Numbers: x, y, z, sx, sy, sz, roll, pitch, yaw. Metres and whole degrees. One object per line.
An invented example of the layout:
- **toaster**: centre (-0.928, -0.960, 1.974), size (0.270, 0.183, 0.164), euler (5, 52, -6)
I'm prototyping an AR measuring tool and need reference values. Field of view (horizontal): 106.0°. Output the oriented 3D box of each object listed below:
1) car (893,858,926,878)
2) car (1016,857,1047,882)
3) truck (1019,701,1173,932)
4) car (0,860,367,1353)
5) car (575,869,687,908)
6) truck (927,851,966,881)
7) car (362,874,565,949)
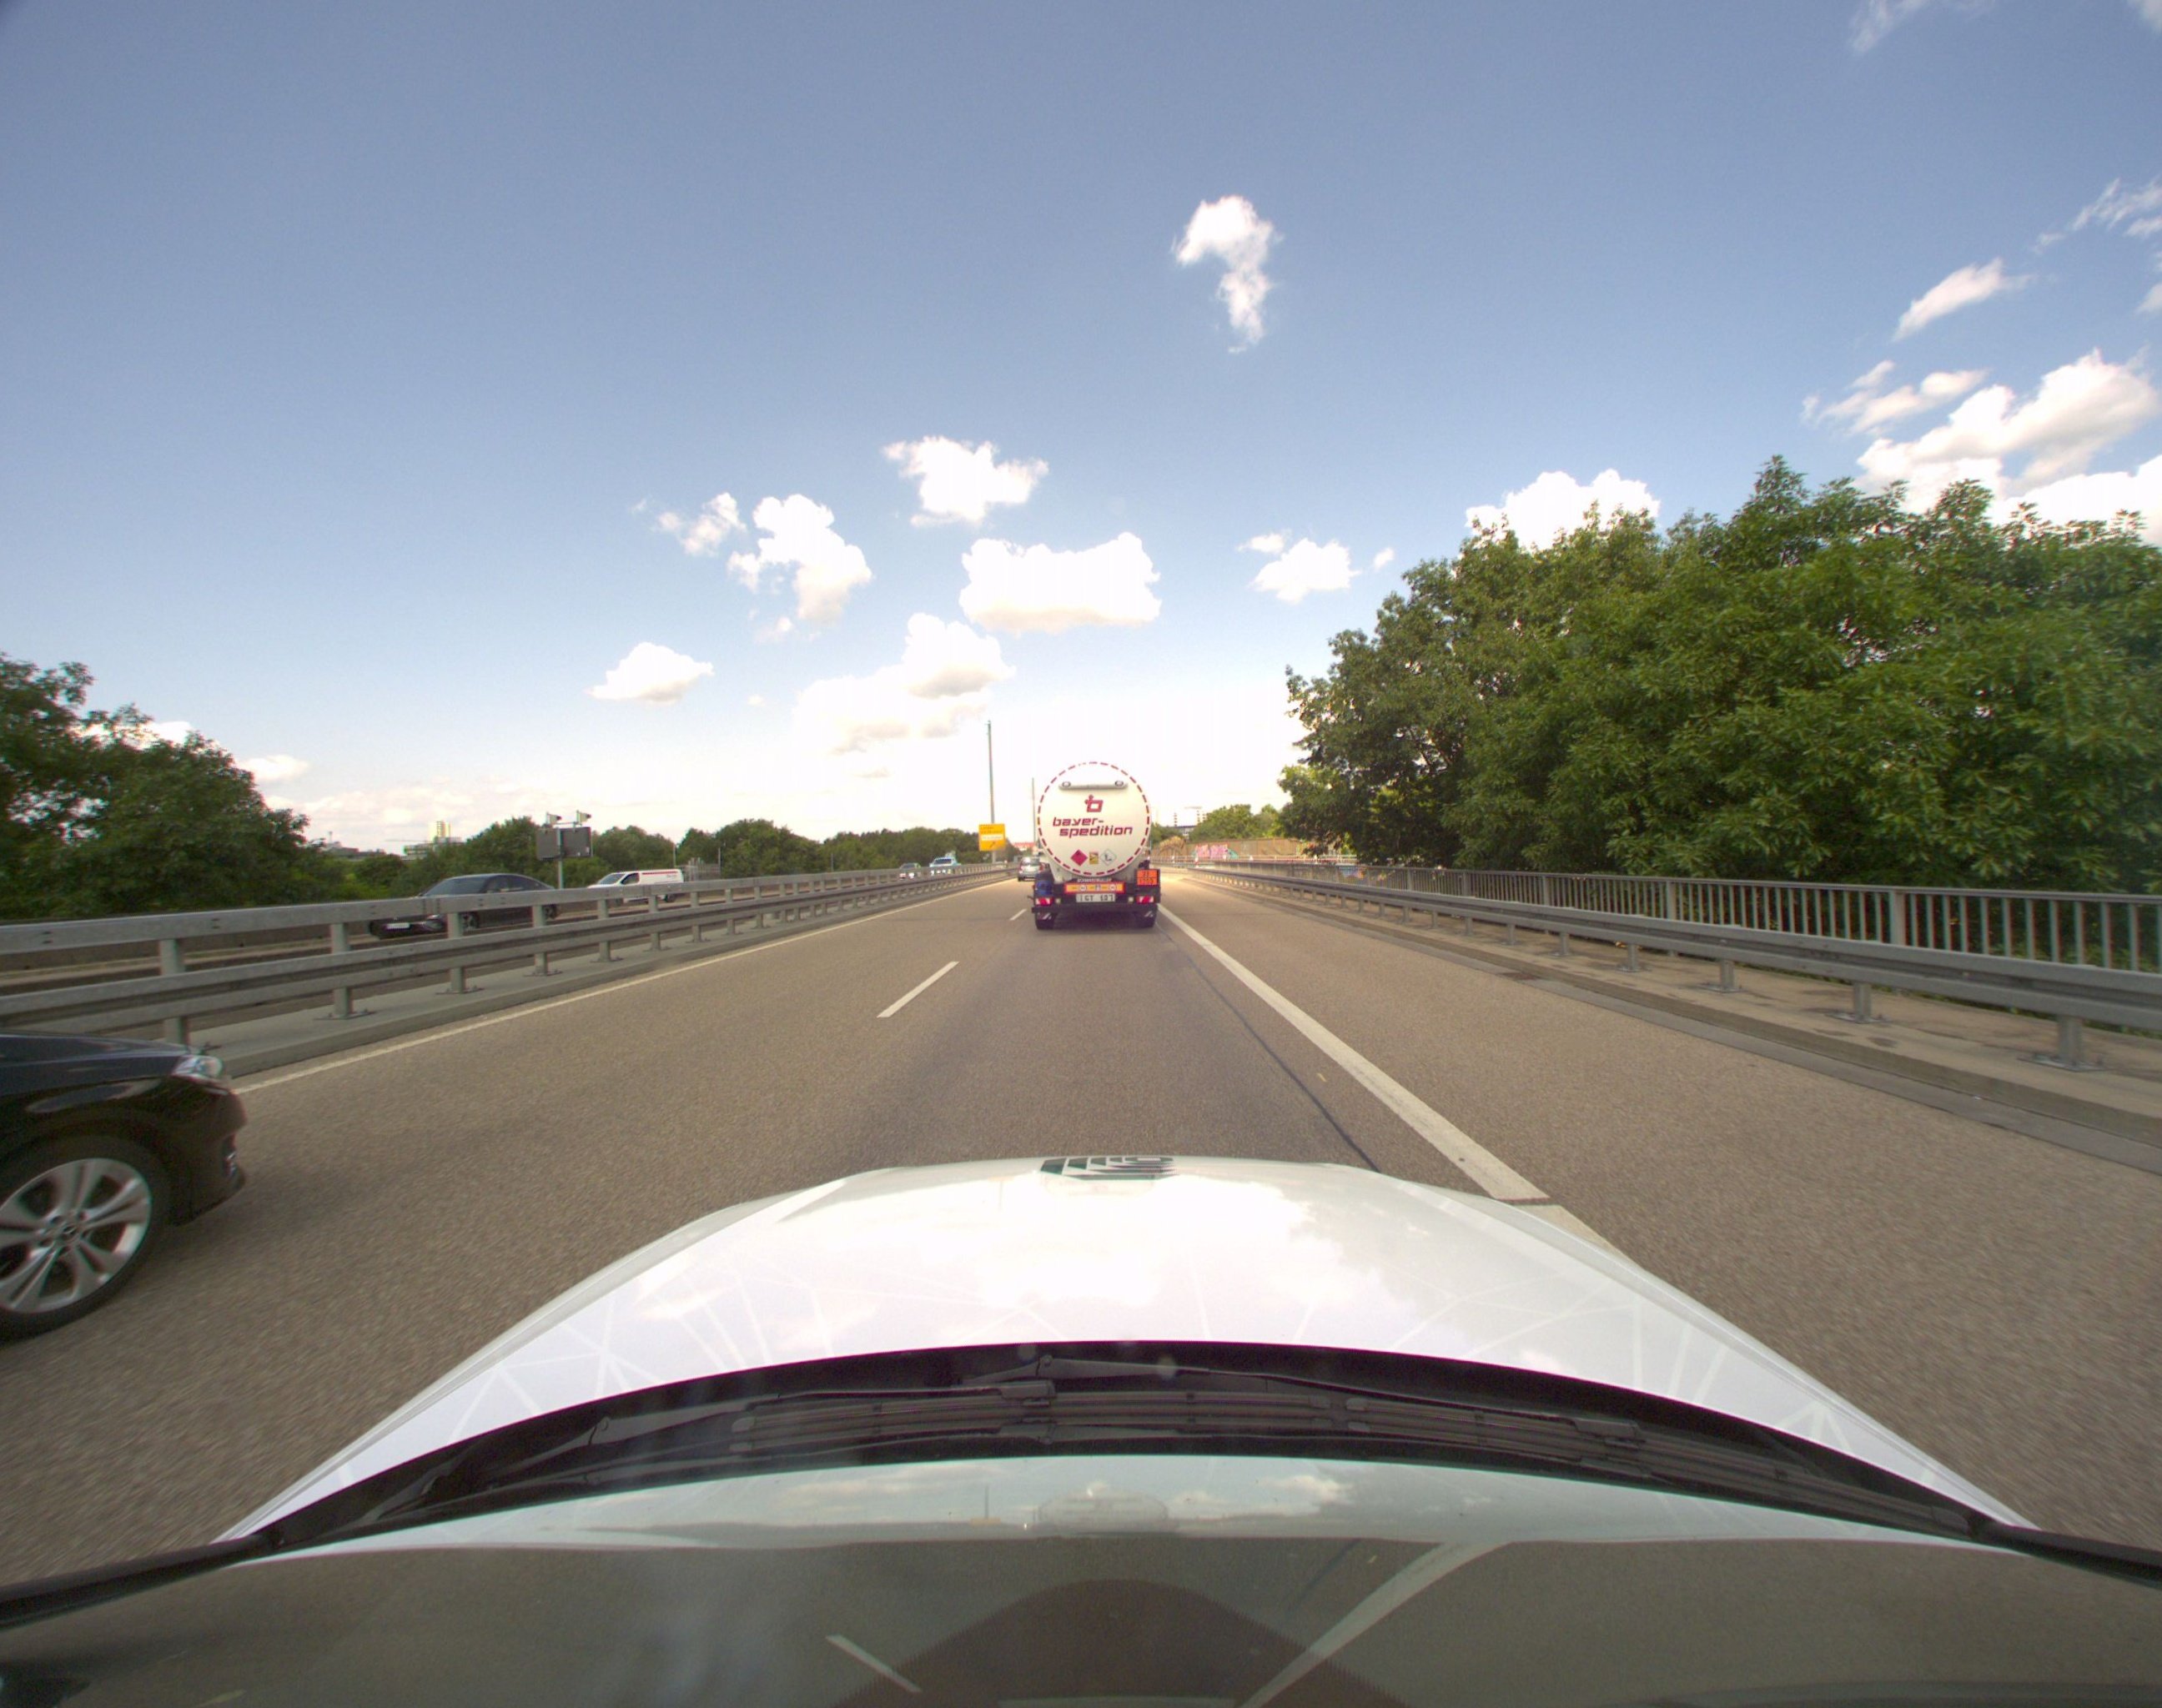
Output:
- **car**: centre (-14.798, 1.188, 70.331), size (1.822, 1.581, 3.955), euler (0, 0, 2)
- **car**: centre (-3.236, 1.015, 54.027), size (1.742, 1.531, 4.000), euler (-1, 0, 0)
- **truck**: centre (0.312, -0.695, 19.488), size (2.886, 4.369, 8.028), euler (0, 0, 0)
- **car**: centre (-4.236, 0.788, 1.514), size (1.705, 1.527, 4.593), euler (0, 0, 1)
- **car**: centre (-24.312, 1.797, 44.240), size (1.976, 1.898, 5.197), euler (-1, 0, 24)
- **truck**: centre (-10.023, 0.887, 61.143), size (1.865, 2.187, 5.191), euler (0, 0, 2)
- **car**: centre (-15.752, 1.388, 21.141), size (1.885, 1.640, 4.510), euler (0, 0, -1)
